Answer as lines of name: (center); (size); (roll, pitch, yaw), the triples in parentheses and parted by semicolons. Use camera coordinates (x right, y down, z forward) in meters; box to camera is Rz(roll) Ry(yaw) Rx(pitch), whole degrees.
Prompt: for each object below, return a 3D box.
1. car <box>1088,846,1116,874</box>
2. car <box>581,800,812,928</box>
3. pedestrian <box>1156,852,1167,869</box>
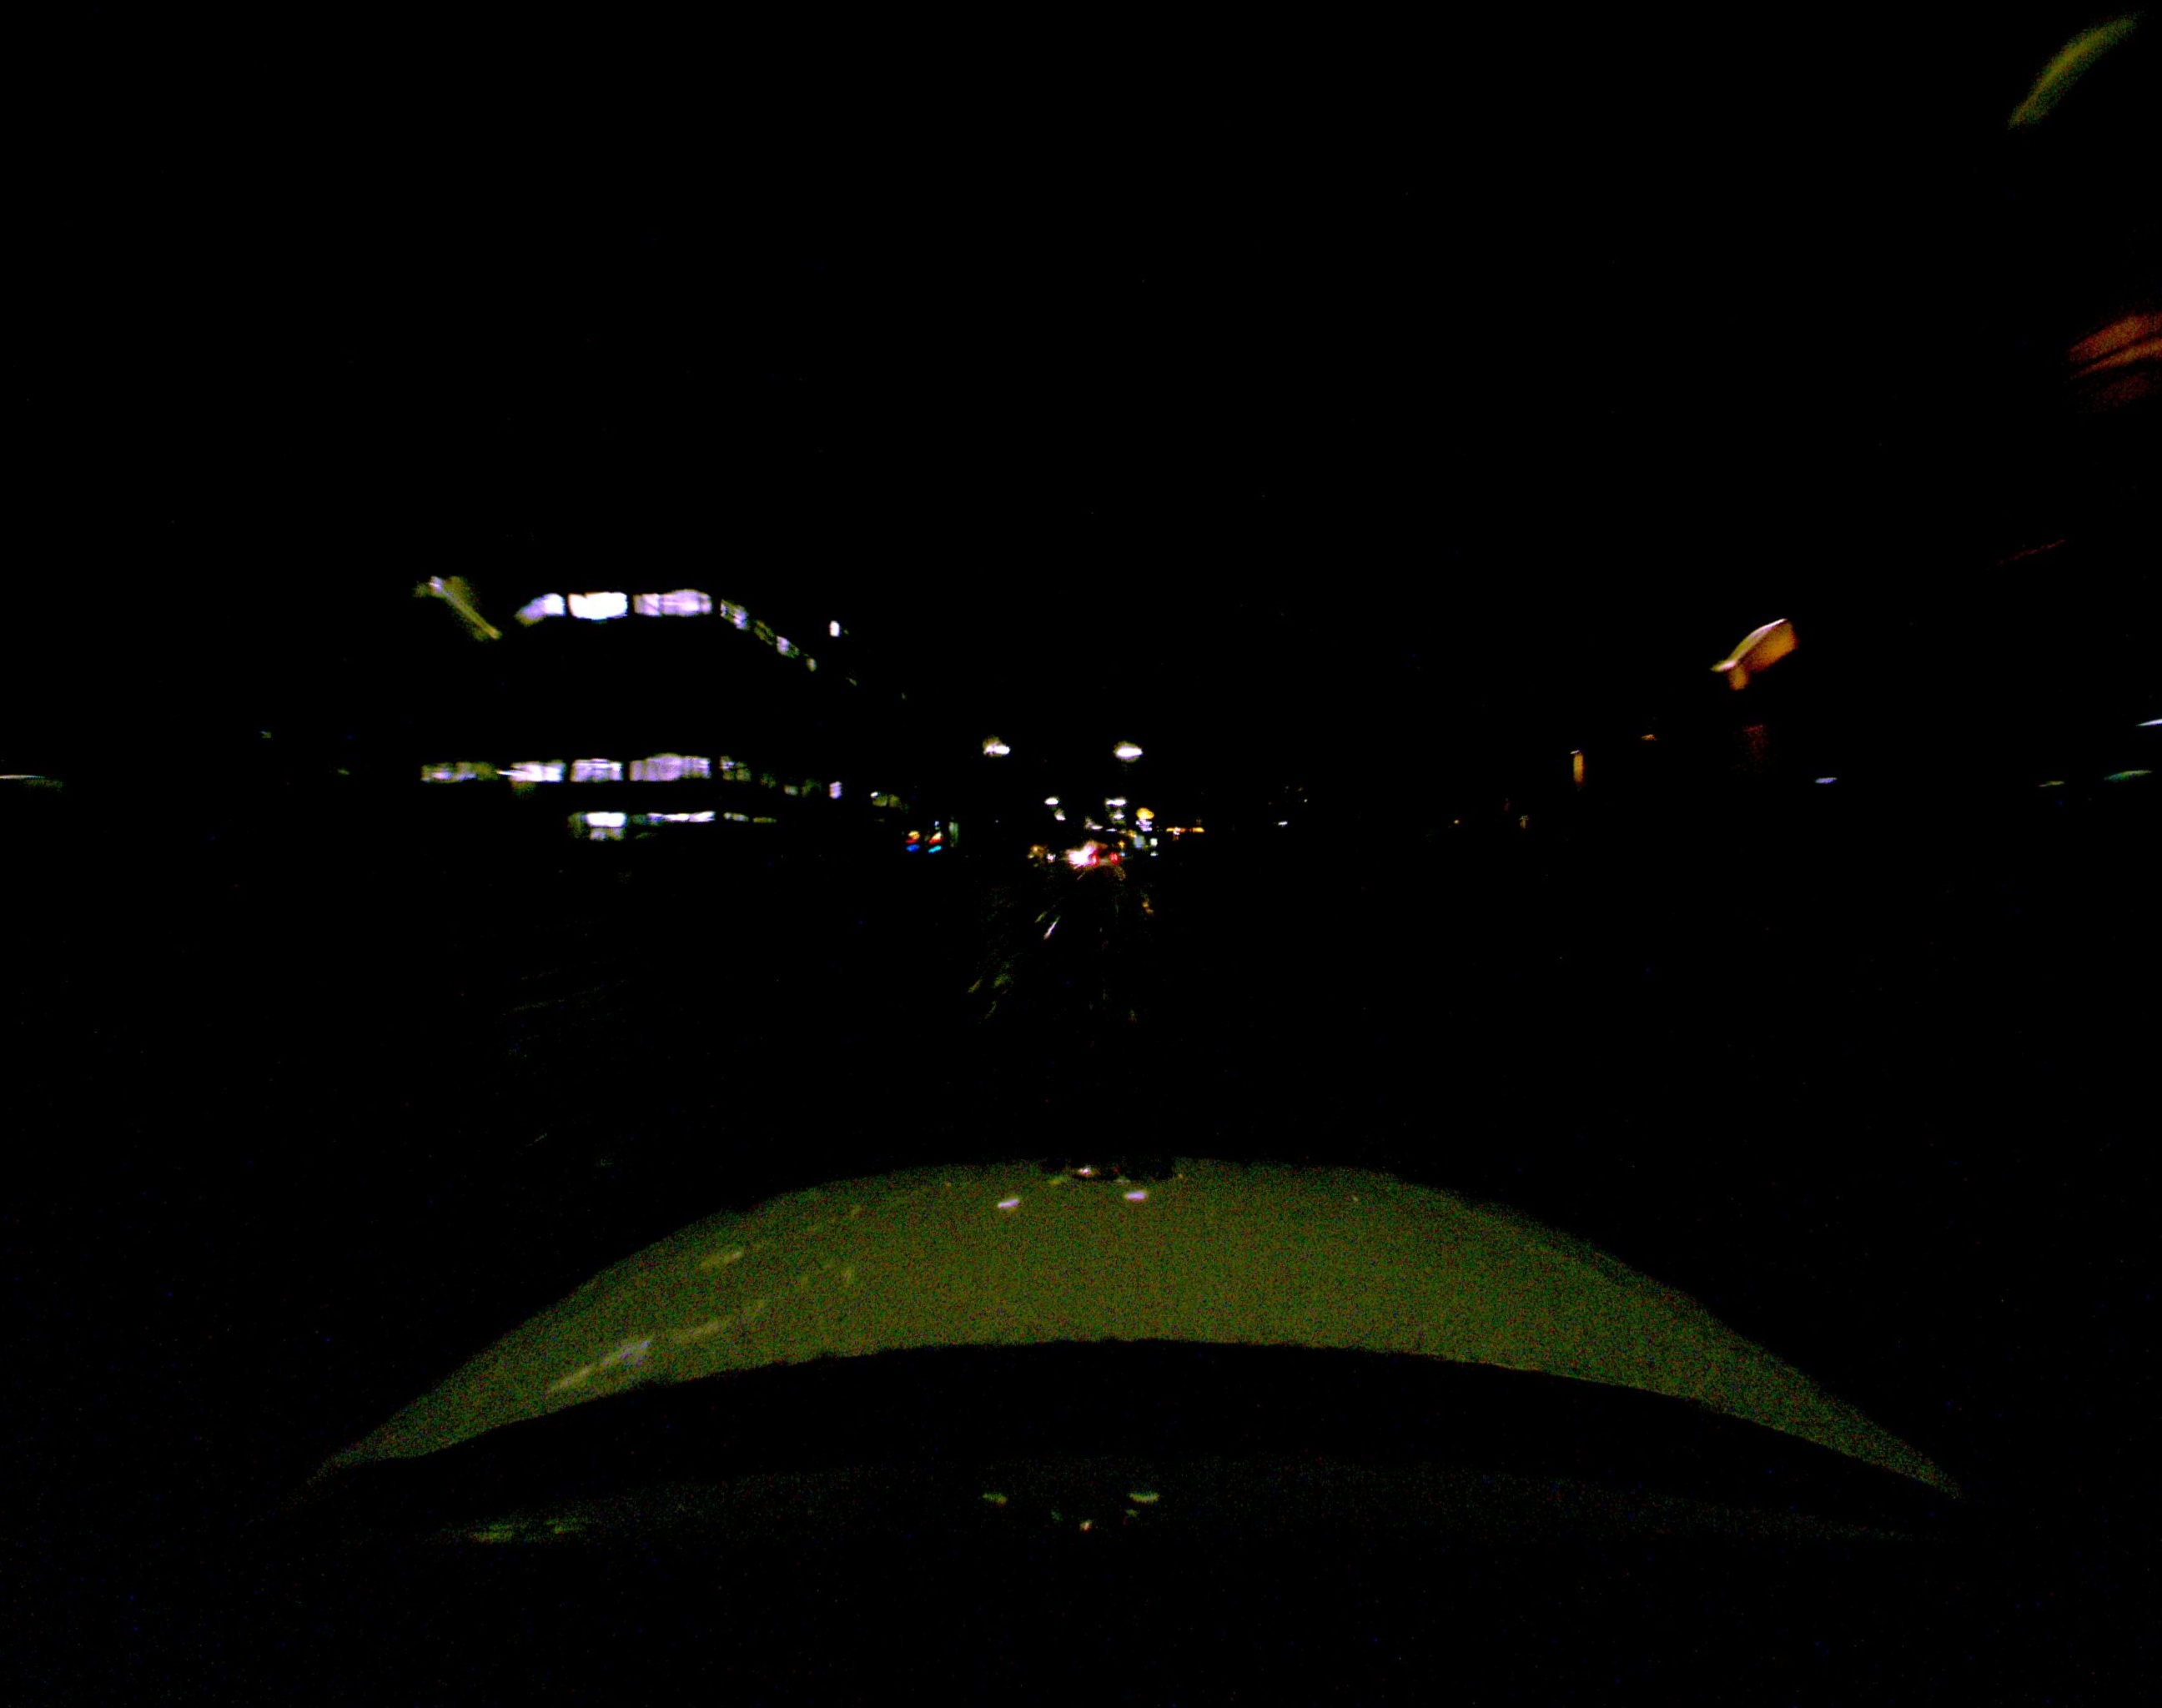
car: (1.759, 0.495, 69.398); (2.236, 2.361, 4.394); (0, 0, 0)
car: (-8.880, 0.183, 19.736); (2.175, 2.591, 6.399); (0, 0, 4)
pedestrian: (8.290, 0.676, 83.454); (0.937, 1.664, 0.993); (-3, 0, -3)
